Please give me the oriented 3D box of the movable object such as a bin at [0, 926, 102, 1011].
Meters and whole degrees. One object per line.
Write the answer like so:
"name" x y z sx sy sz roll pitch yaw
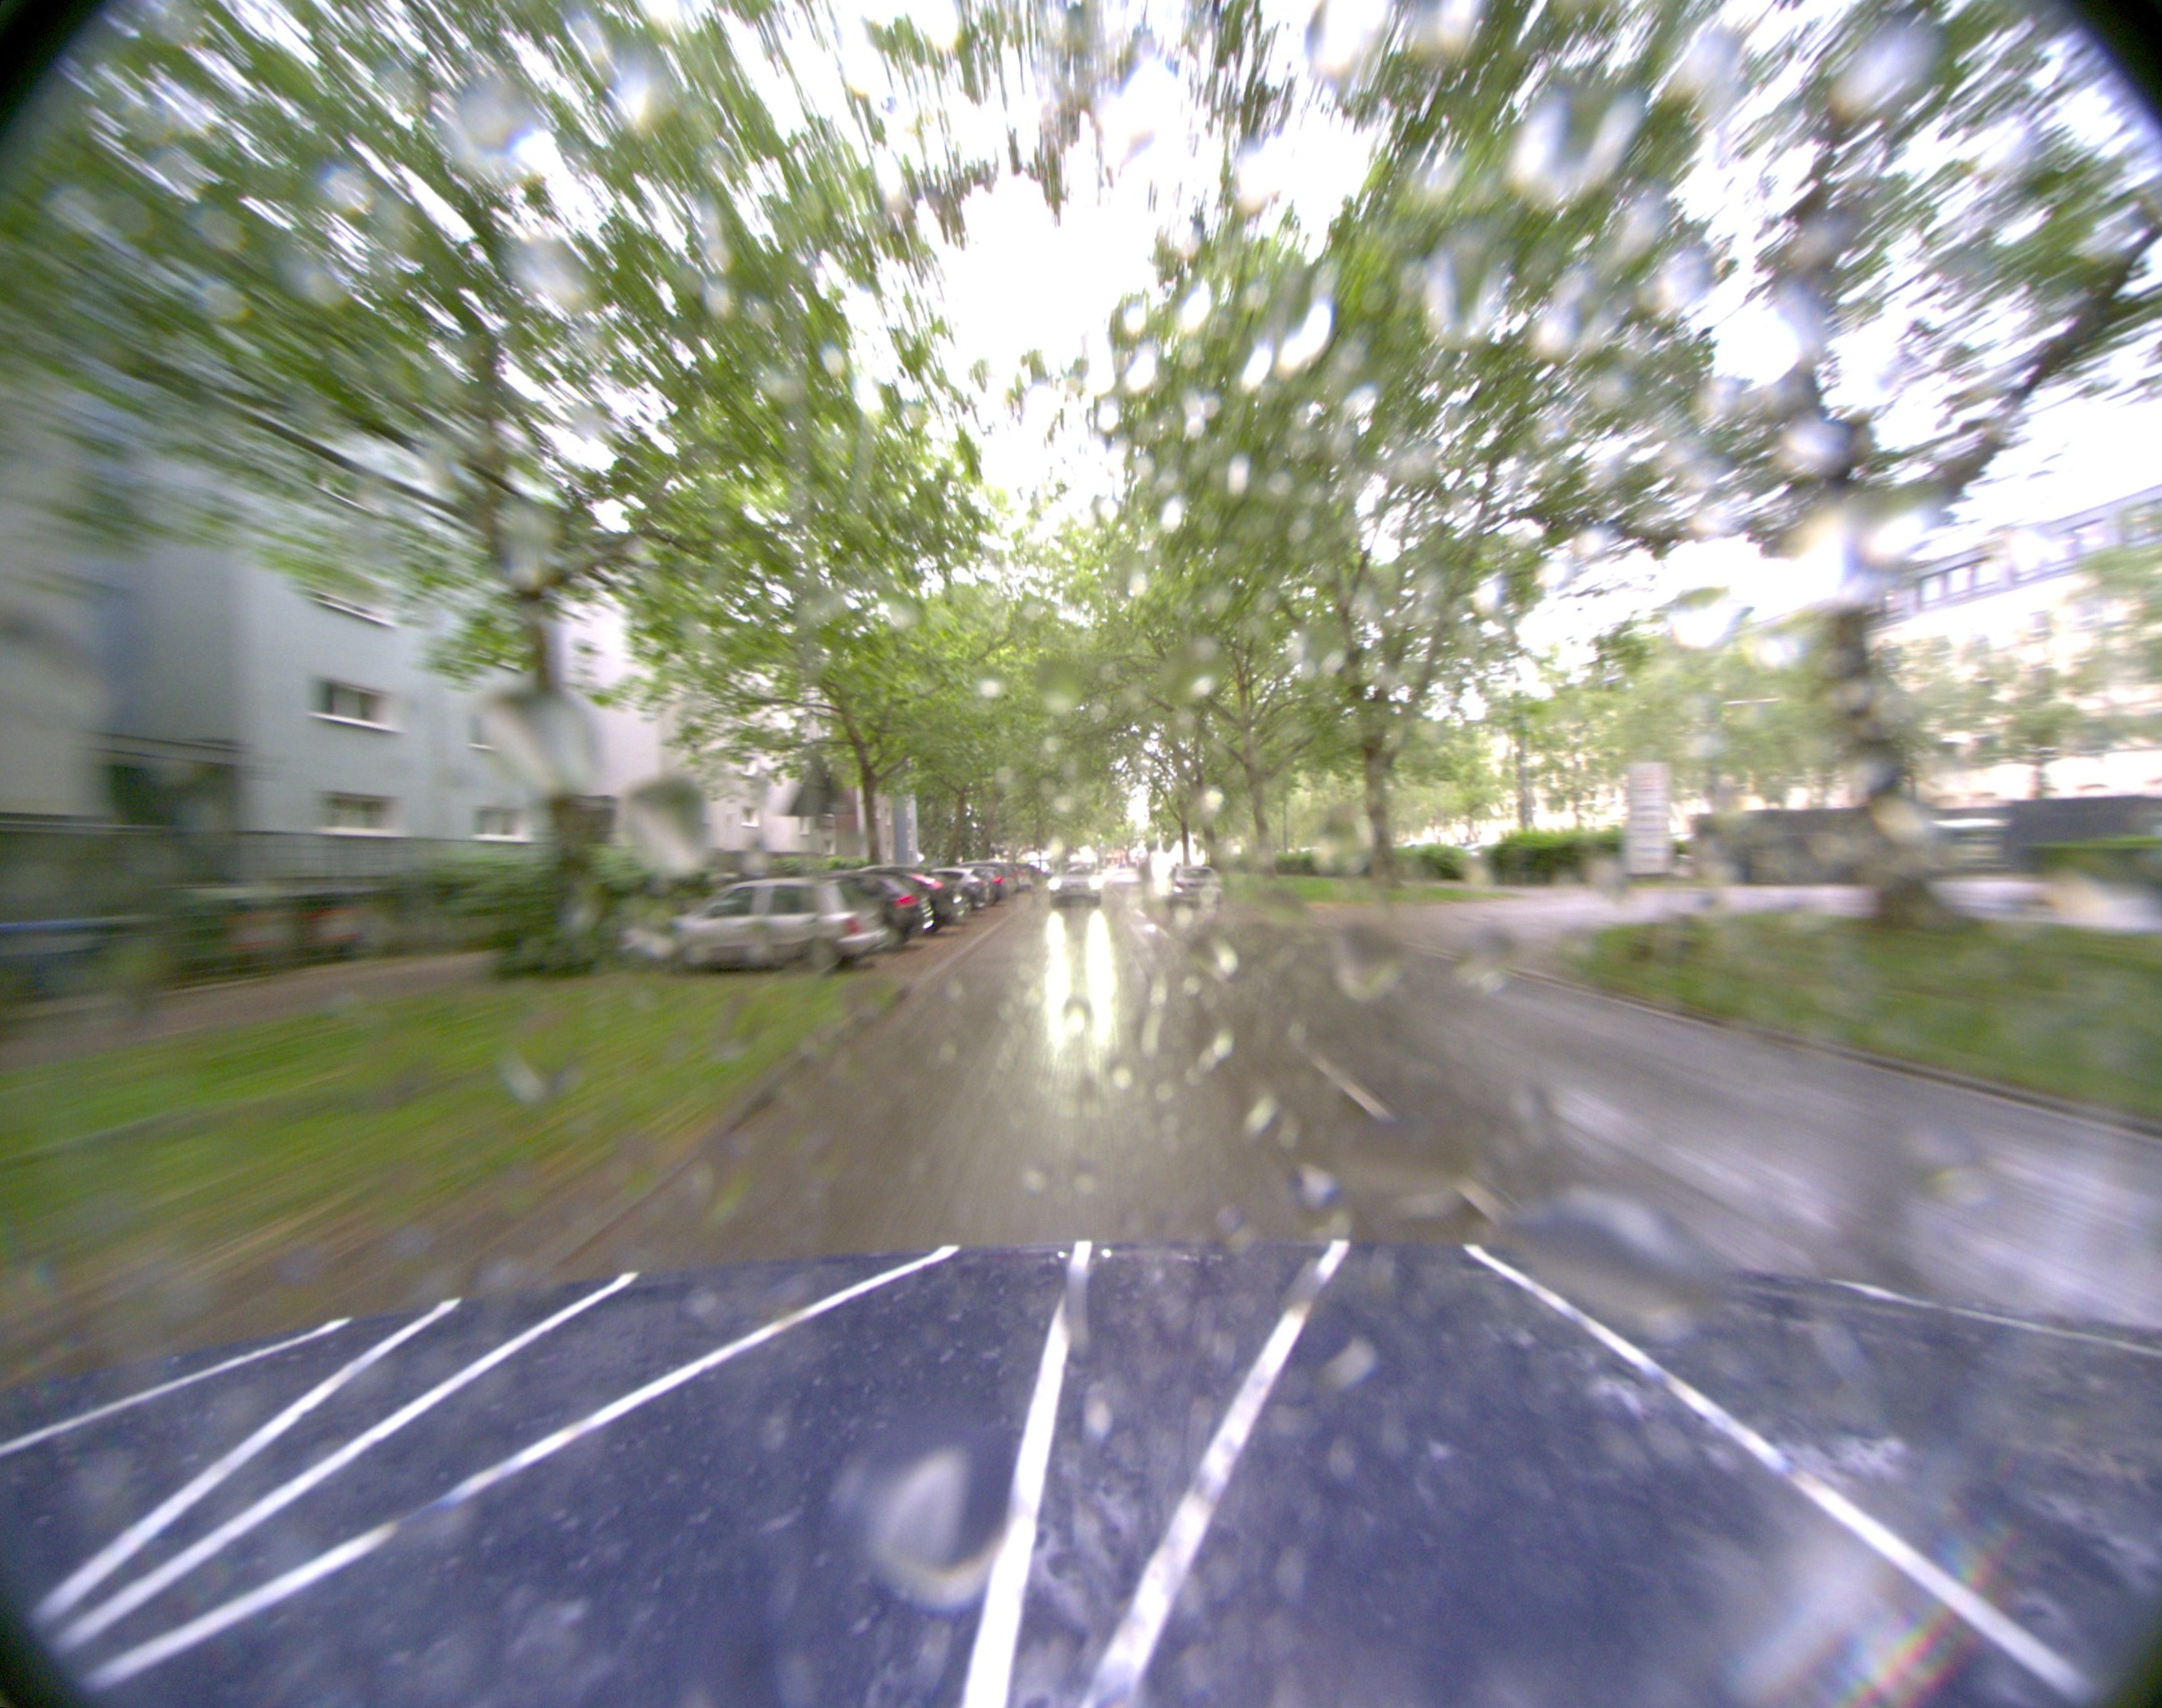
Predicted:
"movable object such as a bin" -14.178 1.556 10.413 0.688 1.060 0.622 -2 0 1

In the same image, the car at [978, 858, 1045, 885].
"car" -4.473 1.133 49.025 3.873 1.687 1.834 0 -2 -27

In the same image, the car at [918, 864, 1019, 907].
"car" -4.772 1.326 32.659 3.997 1.528 1.631 -4 0 0

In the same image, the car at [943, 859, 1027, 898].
"car" -4.898 1.255 39.285 3.997 1.717 1.801 -4 0 1

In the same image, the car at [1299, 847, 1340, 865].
"car" 26.989 0.256 86.049 3.998 1.822 1.854 -4 0 -3

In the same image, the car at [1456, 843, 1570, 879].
"car" 19.339 0.311 34.121 3.998 1.584 2.000 0 -1 -2

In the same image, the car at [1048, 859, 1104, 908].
"car" -0.112 1.054 29.010 1.961 1.701 4.175 -2 0 2

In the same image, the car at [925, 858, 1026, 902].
"car" -4.864 1.194 35.456 4.348 1.751 1.819 -4 0 1

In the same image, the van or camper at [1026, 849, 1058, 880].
"van or camper" -3.796 0.982 75.289 2.324 2.790 6.865 -3 0 2

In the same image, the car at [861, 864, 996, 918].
"car" -5.113 1.236 25.962 4.221 1.574 1.746 -3 -1 -2

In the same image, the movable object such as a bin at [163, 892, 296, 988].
"movable object such as a bin" -13.901 1.382 12.446 0.866 1.429 1.114 -2 0 1

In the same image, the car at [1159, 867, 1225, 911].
"car" 3.816 1.173 26.854 1.683 1.380 4.550 -2 -1 1

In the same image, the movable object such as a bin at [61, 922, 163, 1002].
"movable object such as a bin" -14.117 1.561 11.090 0.661 1.060 0.622 -2 0 1

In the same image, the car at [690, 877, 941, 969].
"car" -4.770 1.229 14.027 3.997 1.429 1.679 -2 -1 1

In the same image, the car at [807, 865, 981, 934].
"car" -4.766 1.147 19.830 4.052 1.521 1.780 -3 -1 -2

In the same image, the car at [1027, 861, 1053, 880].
"car" -3.801 1.515 69.877 1.693 1.643 2.943 -3 -1 -16

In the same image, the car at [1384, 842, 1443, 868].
"car" 27.762 0.101 63.582 3.997 2.001 2.000 -2 -1 1

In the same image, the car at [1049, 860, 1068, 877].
"car" -2.375 1.512 81.624 1.920 1.611 4.452 -4 1 -1

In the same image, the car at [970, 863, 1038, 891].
"car" -4.456 1.332 44.352 3.712 1.527 1.738 -1 0 3

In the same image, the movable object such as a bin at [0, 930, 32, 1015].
"movable object such as a bin" -14.157 1.543 9.681 0.688 1.060 0.622 -2 0 1

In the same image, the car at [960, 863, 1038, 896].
"car" -4.445 1.370 41.652 3.997 1.504 1.801 -4 -1 -1

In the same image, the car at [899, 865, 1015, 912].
"car" -4.572 1.264 28.445 4.046 1.432 1.685 -4 -1 -3

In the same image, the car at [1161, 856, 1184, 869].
"car" 18.687 1.681 154.608 2.190 2.242 4.894 -4 -1 41

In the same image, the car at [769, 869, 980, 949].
"car" -4.462 1.176 16.889 4.110 1.504 1.865 -2 -1 1

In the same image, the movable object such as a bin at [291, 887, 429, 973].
"movable object such as a bin" -13.272 1.371 14.050 1.206 1.429 1.345 -2 0 1

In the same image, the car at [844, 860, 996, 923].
"car" -4.867 1.125 23.429 4.221 1.646 1.914 -3 -1 0

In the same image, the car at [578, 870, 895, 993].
"car" -5.067 1.114 11.558 3.997 1.569 1.679 -2 0 1
